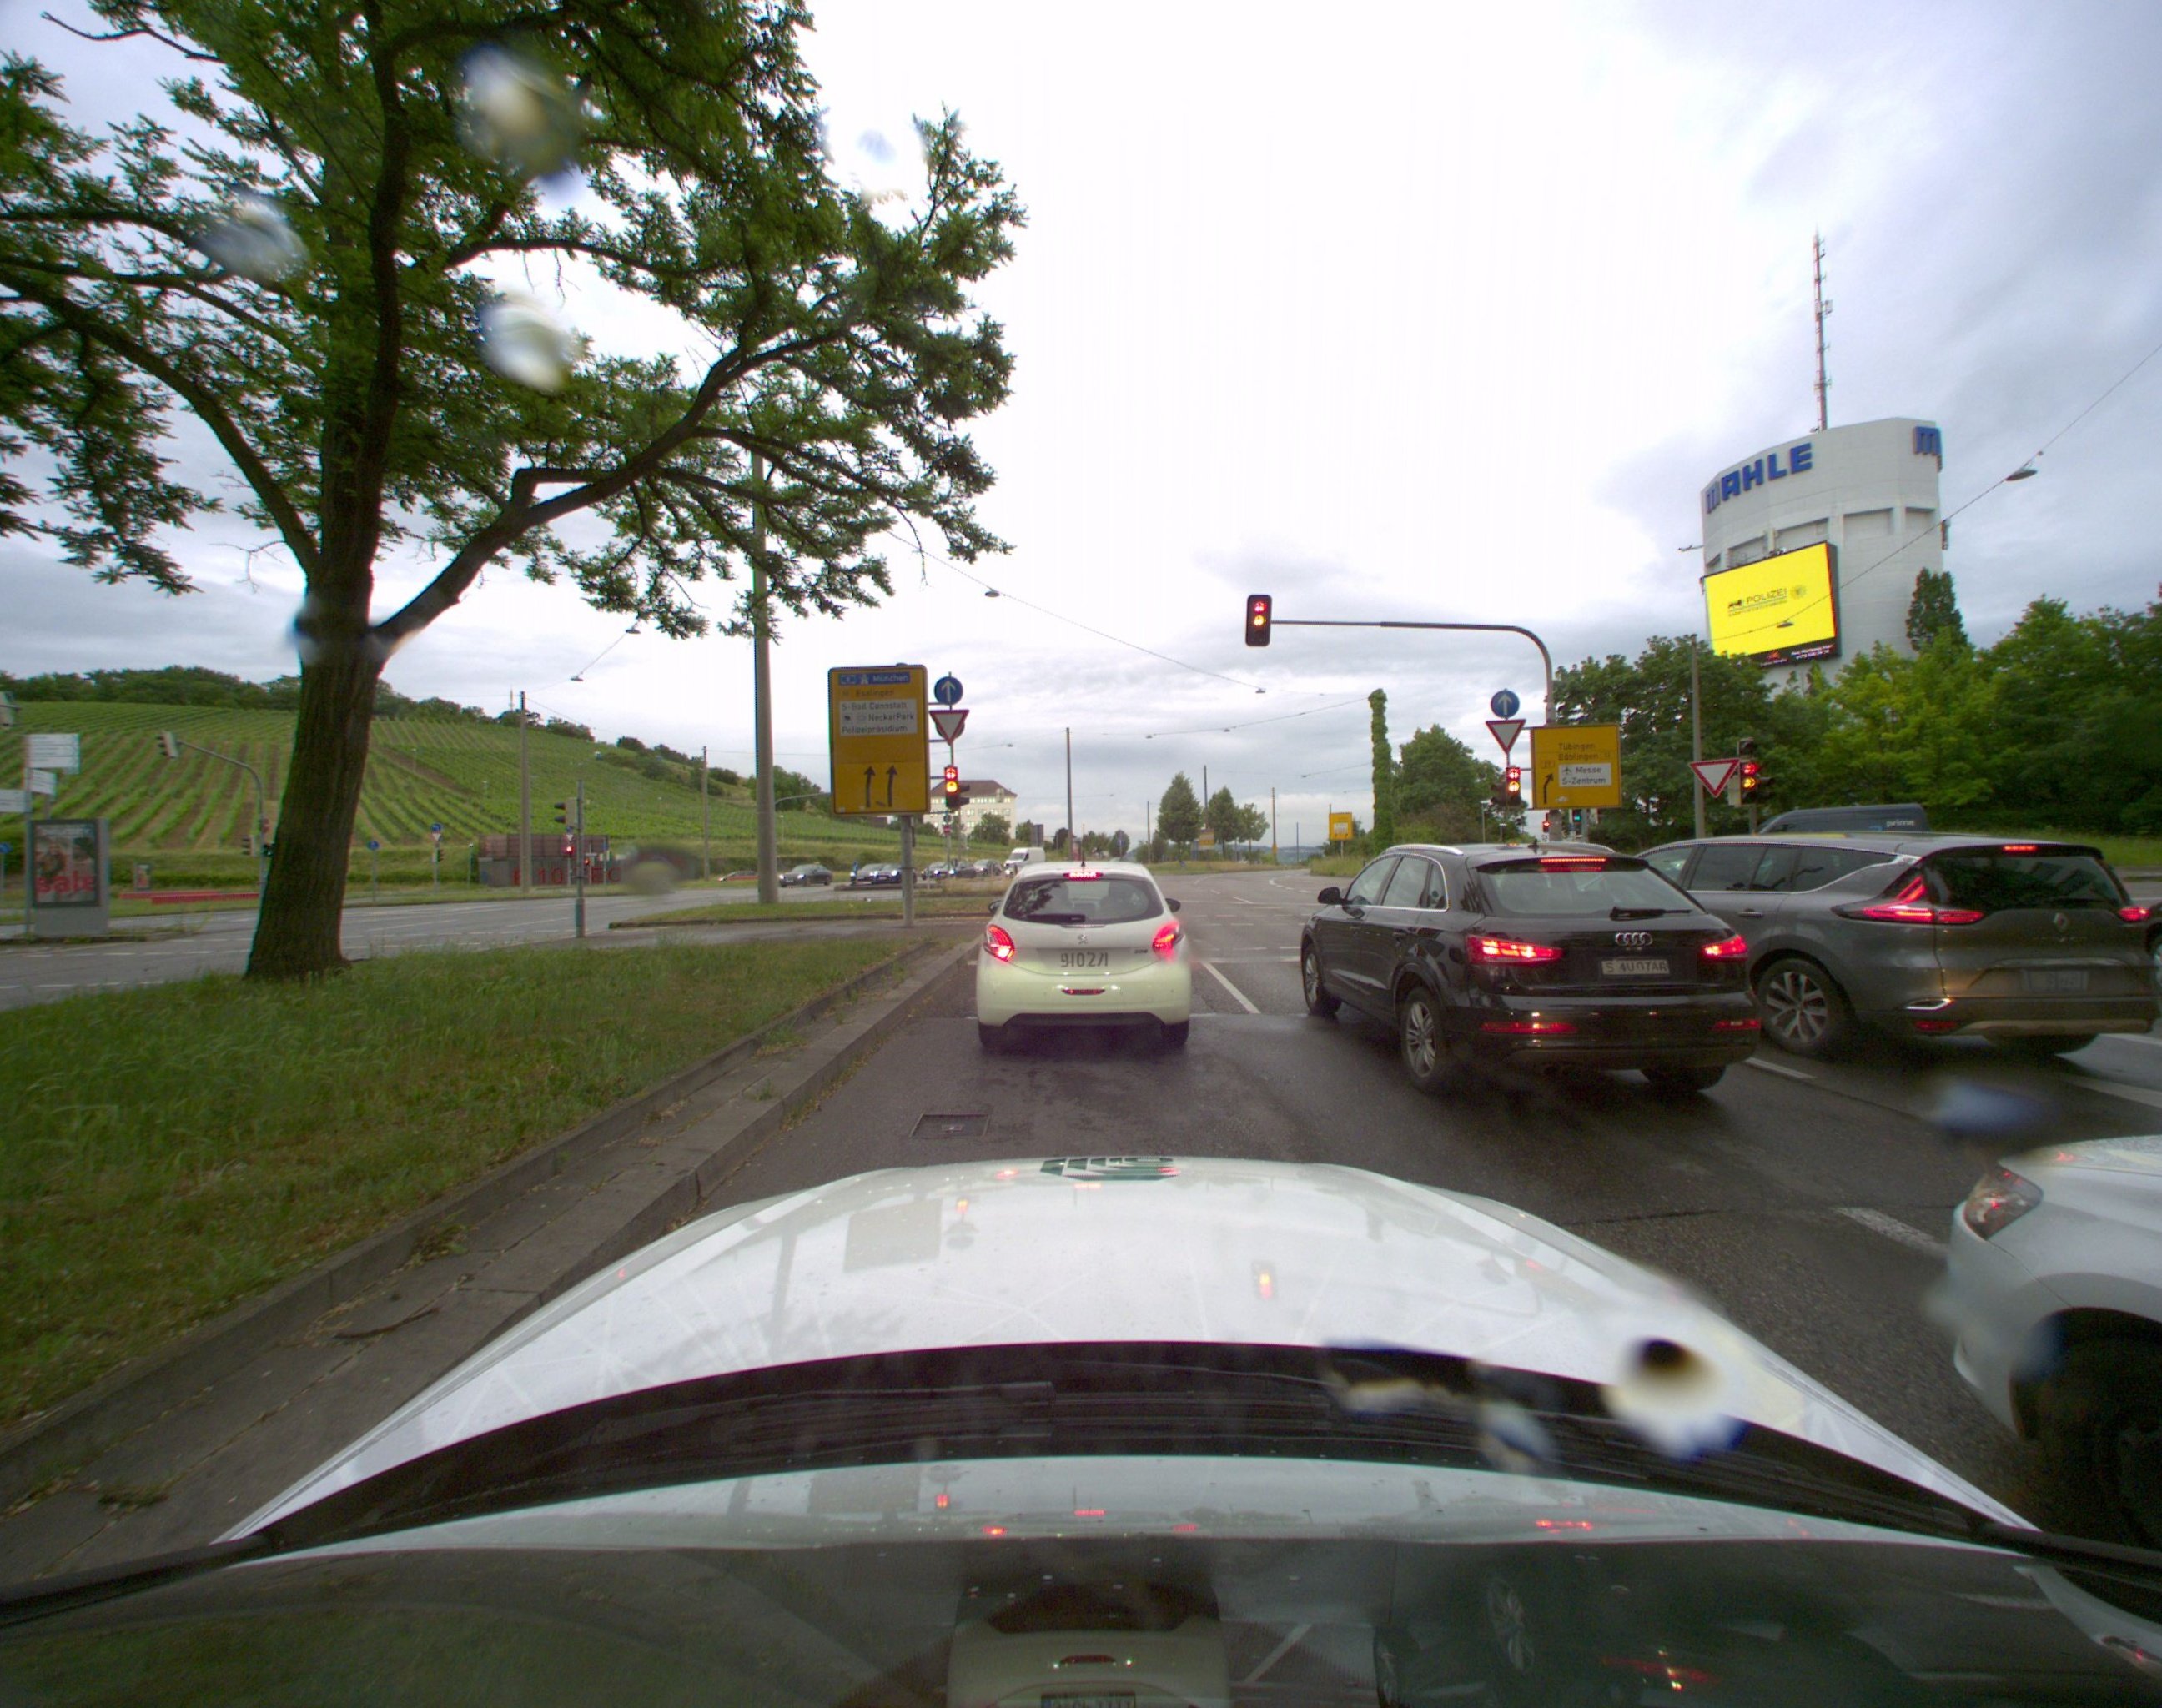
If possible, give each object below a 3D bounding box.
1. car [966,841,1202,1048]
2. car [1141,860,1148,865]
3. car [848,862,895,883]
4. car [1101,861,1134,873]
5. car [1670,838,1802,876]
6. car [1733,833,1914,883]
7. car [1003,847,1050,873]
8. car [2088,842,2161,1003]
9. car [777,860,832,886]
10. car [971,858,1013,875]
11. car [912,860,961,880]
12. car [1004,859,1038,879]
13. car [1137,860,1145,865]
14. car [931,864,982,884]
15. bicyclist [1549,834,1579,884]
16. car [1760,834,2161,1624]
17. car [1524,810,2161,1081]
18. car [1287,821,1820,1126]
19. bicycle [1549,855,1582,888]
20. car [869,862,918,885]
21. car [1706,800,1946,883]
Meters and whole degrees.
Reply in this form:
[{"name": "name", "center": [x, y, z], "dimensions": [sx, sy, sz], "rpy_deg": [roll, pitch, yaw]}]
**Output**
[{"name": "car", "center": [0.056, 0.681, 7.937], "dimensions": [1.712, 1.489, 4.000], "rpy_deg": [0, -1, 1]}, {"name": "car", "center": [18.440, 2.418, 237.179], "dimensions": [1.836, 1.486, 3.999], "rpy_deg": [-1, 0, -1]}, {"name": "car", "center": [-14.485, 1.287, 56.437], "dimensions": [1.776, 1.395, 3.890], "rpy_deg": [0, -1, 8]}, {"name": "car", "center": [4.621, 1.617, 102.705], "dimensions": [1.974, 1.513, 4.258], "rpy_deg": [0, -1, 37]}, {"name": "car", "center": [28.499, 0.161, 35.586], "dimensions": [4.094, 1.564, 1.881], "rpy_deg": [-1, -1, 22]}, {"name": "car", "center": [24.351, 0.176, 26.906], "dimensions": [4.012, 1.569, 1.881], "rpy_deg": [-1, -2, 25]}, {"name": "car", "center": [-5.606, 0.646, 84.795], "dimensions": [1.975, 2.559, 6.205], "rpy_deg": [0, -1, 26]}, {"name": "car", "center": [10.276, 0.593, 6.147], "dimensions": [1.847, 1.498, 4.176], "rpy_deg": [-2, -2, 28]}, {"name": "car", "center": [-18.226, 1.233, 53.892], "dimensions": [1.821, 1.624, 4.570], "rpy_deg": [1, -1, 4]}, {"name": "car", "center": [-8.332, 1.166, 76.323], "dimensions": [1.975, 1.576, 4.219], "rpy_deg": [0, -1, 25]}, {"name": "car", "center": [-12.020, 1.316, 68.178], "dimensions": [1.808, 1.472, 4.693], "rpy_deg": [-1, 0, 21]}, {"name": "car", "center": [-4.588, 1.116, 62.648], "dimensions": [1.766, 1.425, 4.382], "rpy_deg": [-2, -1, 7]}, {"name": "car", "center": [18.062, 2.509, 245.572], "dimensions": [1.836, 1.486, 3.999], "rpy_deg": [-1, 0, -1]}, {"name": "car", "center": [-9.636, 1.495, 63.309], "dimensions": [1.886, 1.489, 4.914], "rpy_deg": [0, -1, 18]}, {"name": "bicyclist", "center": [15.877, 0.167, 26.789], "dimensions": [0.801, 1.584, 1.029], "rpy_deg": [0, -1, 28]}, {"name": "car", "center": [2.807, 0.676, 0.467], "dimensions": [1.734, 1.432, 3.812], "rpy_deg": [1, -1, 1]}, {"name": "car", "center": [6.165, 0.547, 7.363], "dimensions": [1.859, 1.674, 4.565], "rpy_deg": [0, 0, 0]}, {"name": "car", "center": [3.032, 0.656, 6.388], "dimensions": [1.877, 1.595, 4.114], "rpy_deg": [1, -1, 1]}, {"name": "bicycle", "center": [15.836, 0.547, 26.643], "dimensions": [0.801, 1.023, 2.343], "rpy_deg": [-2, -1, 29]}, {"name": "car", "center": [-11.987, 1.253, 52.280], "dimensions": [1.776, 1.395, 3.890], "rpy_deg": [0, -1, 8]}, {"name": "car", "center": [26.298, -0.354, 29.138], "dimensions": [5.953, 2.741, 2.094], "rpy_deg": [-1, -2, 27]}]
